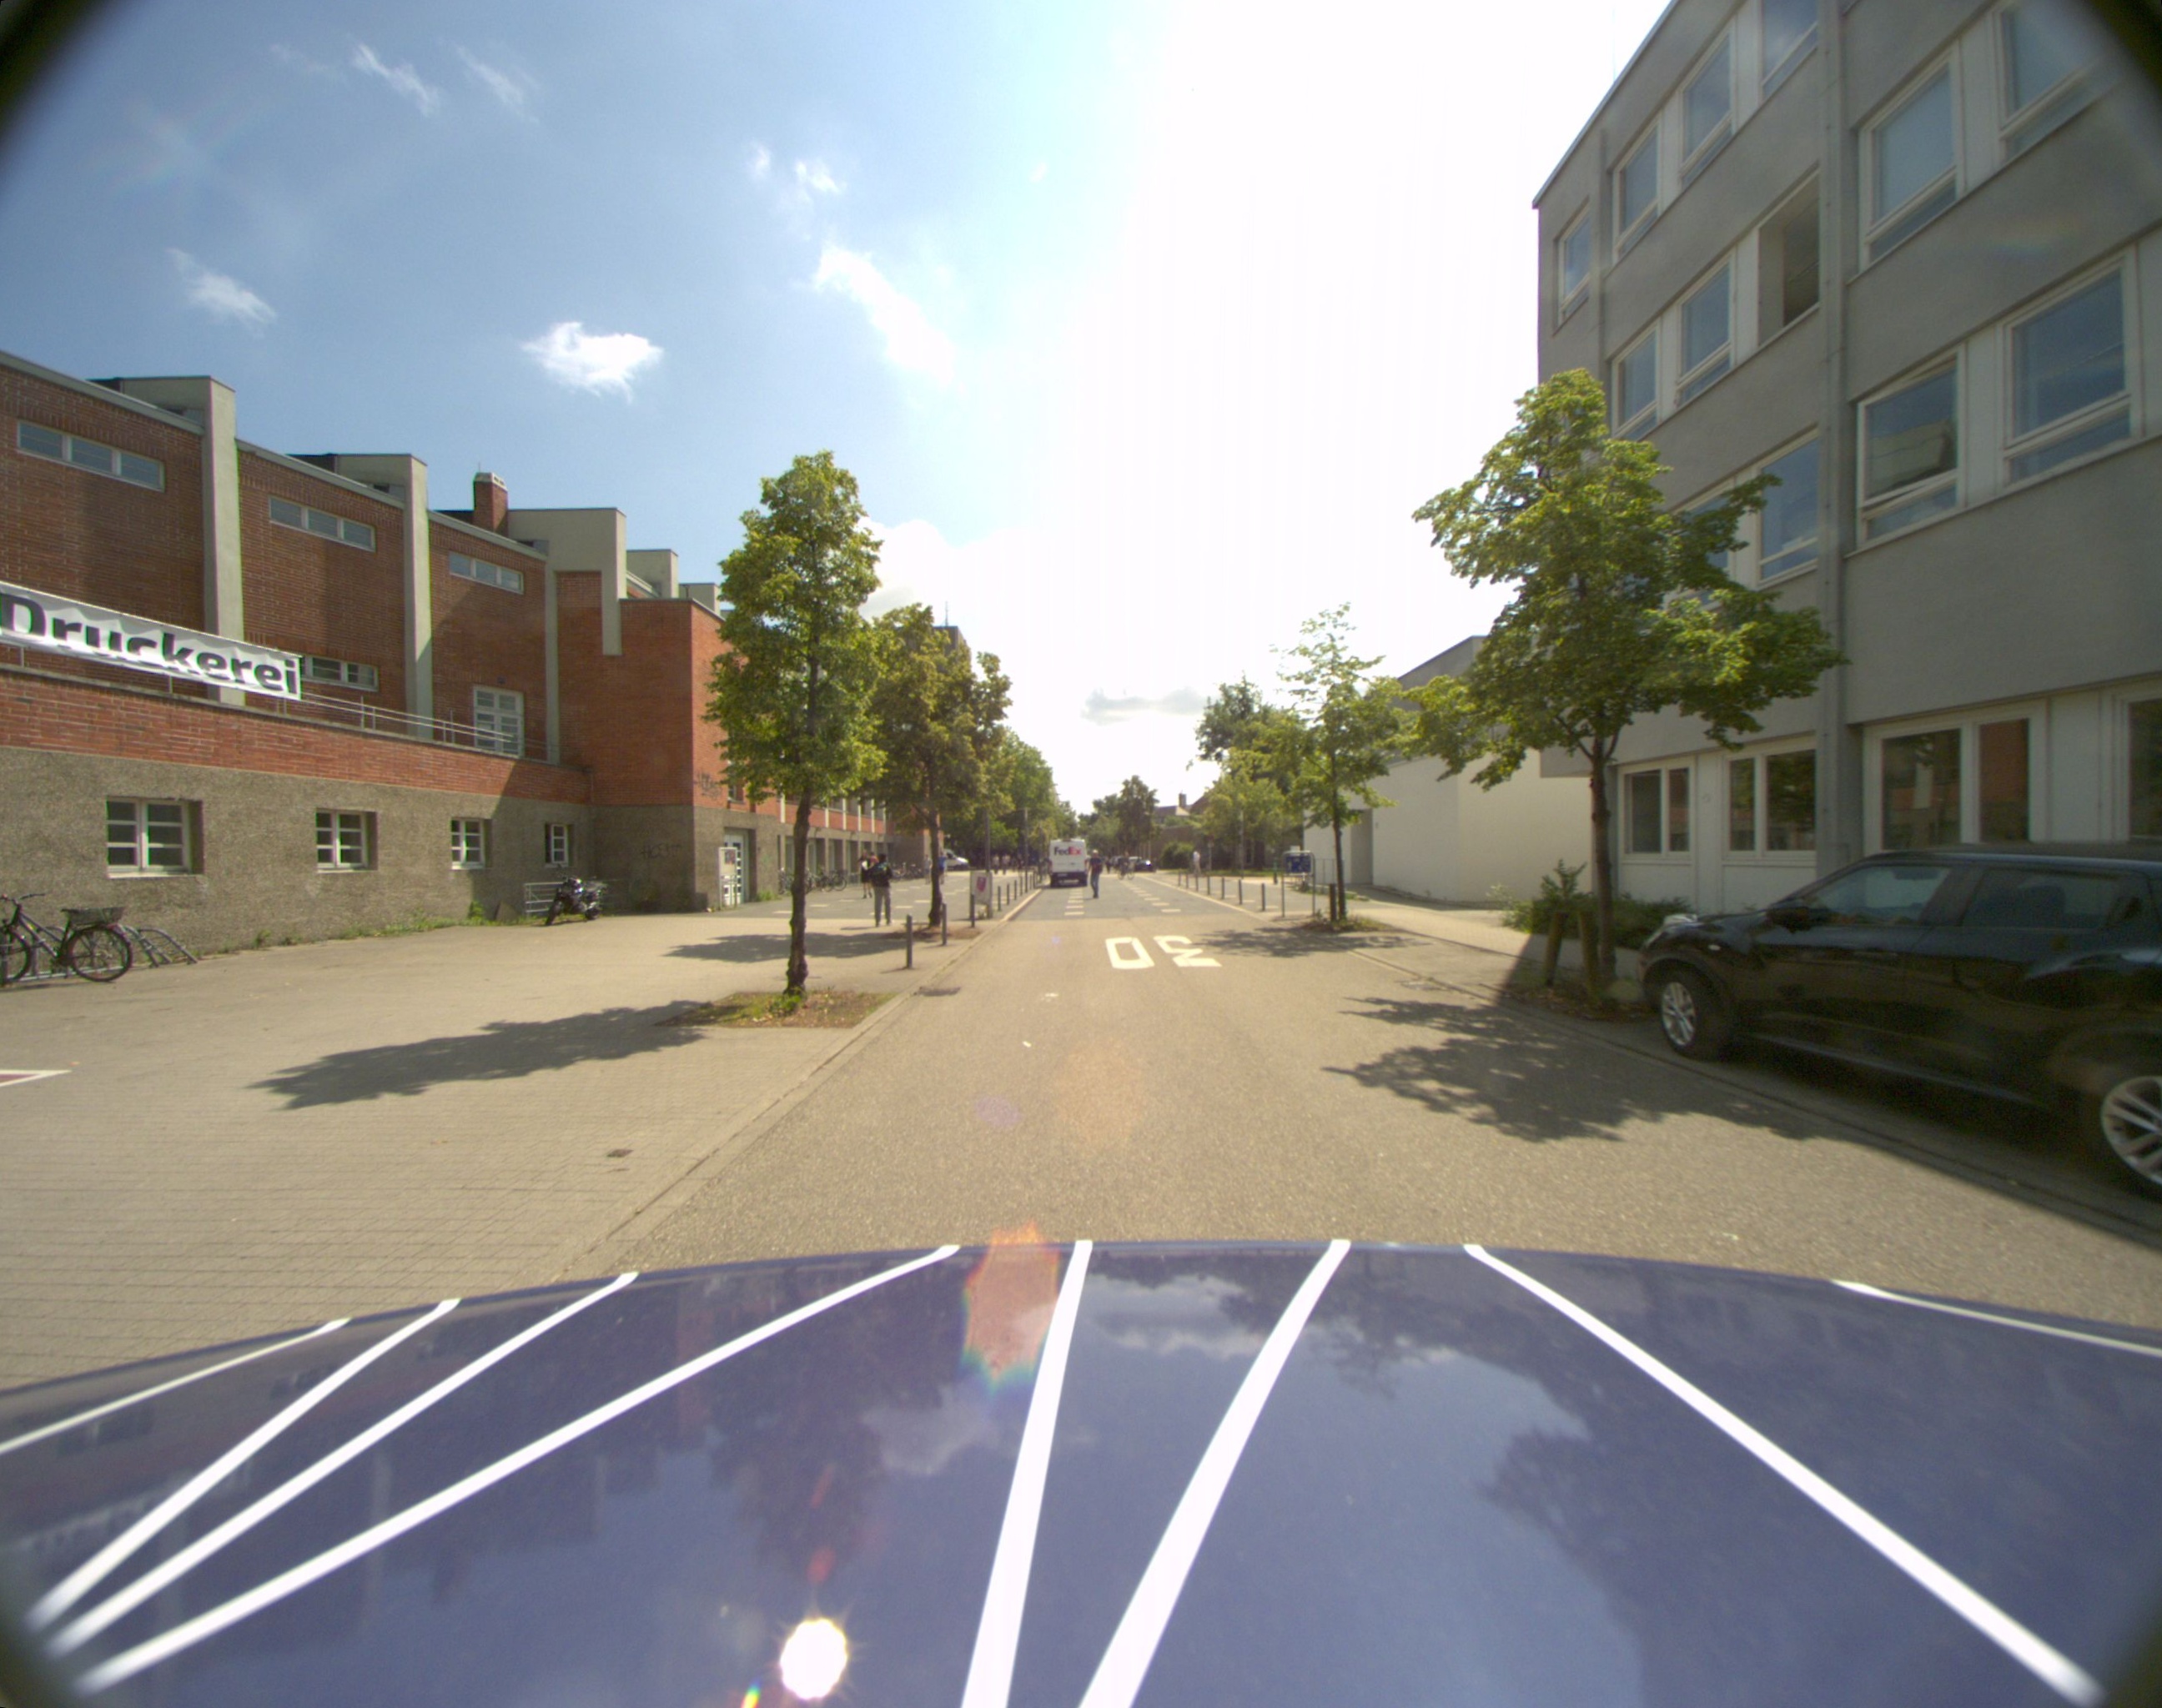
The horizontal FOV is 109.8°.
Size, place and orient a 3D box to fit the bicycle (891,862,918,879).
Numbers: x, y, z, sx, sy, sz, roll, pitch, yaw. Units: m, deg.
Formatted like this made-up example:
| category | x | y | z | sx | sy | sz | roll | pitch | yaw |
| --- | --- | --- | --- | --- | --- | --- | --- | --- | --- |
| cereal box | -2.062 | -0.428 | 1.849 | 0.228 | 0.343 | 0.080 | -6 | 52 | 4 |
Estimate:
| category | x | y | z | sx | sy | sz | roll | pitch | yaw |
| --- | --- | --- | --- | --- | --- | --- | --- | --- | --- |
| bicycle | -11.547 | 1.055 | 49.738 | 1.655 | 1.103 | 0.435 | 0 | 1 | -2 |

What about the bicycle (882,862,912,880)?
| category | x | y | z | sx | sy | sz | roll | pitch | yaw |
| --- | --- | --- | --- | --- | --- | --- | --- | --- | --- |
| bicycle | -11.642 | 1.054 | 48.110 | 1.801 | 1.103 | 0.435 | 0 | 1 | -2 |

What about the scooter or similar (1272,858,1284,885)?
| category | x | y | z | sx | sy | sz | roll | pitch | yaw |
| --- | --- | --- | --- | --- | --- | --- | --- | --- | --- |
| scooter or similar | 9.406 | 0.841 | 36.267 | 0.483 | 1.255 | 1.314 | -1 | 0 | 13 |

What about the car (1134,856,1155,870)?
| category | x | y | z | sx | sy | sz | roll | pitch | yaw |
| --- | --- | --- | --- | --- | --- | --- | --- | --- | --- |
| car | 5.969 | 0.862 | 71.659 | 1.701 | 1.287 | 3.762 | 0 | 0 | 1 |

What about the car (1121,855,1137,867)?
| category | x | y | z | sx | sy | sz | roll | pitch | yaw |
| --- | --- | --- | --- | --- | --- | --- | --- | --- | --- |
| car | 5.837 | 0.838 | 92.281 | 1.718 | 1.424 | 4.000 | -1 | 0 | 1 |

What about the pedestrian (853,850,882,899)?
| category | x | y | z | sx | sy | sz | roll | pitch | yaw |
| --- | --- | --- | --- | --- | --- | --- | --- | --- | --- |
| pedestrian | -8.189 | 0.763 | 29.154 | 0.846 | 1.823 | 1.197 | -1 | 1 | -5 |

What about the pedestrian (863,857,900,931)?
| category | x | y | z | sx | sy | sz | roll | pitch | yaw |
| --- | --- | --- | --- | --- | --- | --- | --- | --- | --- |
| pedestrian | -4.695 | 0.927 | 17.913 | 0.643 | 1.687 | 0.792 | -1 | 1 | -1 |

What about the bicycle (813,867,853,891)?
| category | x | y | z | sx | sy | sz | roll | pitch | yaw |
| --- | --- | --- | --- | --- | --- | --- | --- | --- | --- |
| bicycle | -11.531 | 1.148 | 35.347 | 1.687 | 1.103 | 0.435 | 0 | 1 | -2 |

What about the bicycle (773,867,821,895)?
| category | x | y | z | sx | sy | sz | roll | pitch | yaw |
| --- | --- | --- | --- | --- | --- | --- | --- | --- | --- |
| bicycle | -11.755 | 1.122 | 31.474 | 1.758 | 1.143 | 0.518 | 0 | 1 | -2 |

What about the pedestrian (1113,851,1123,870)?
| category | x | y | z | sx | sy | sz | roll | pitch | yaw |
| --- | --- | --- | --- | --- | --- | --- | --- | --- | --- |
| pedestrian | 3.438 | 0.616 | 71.166 | 0.727 | 1.776 | 0.899 | -1 | 1 | -14 |

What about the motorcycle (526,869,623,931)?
| category | x | y | z | sx | sy | sz | roll | pitch | yaw |
| --- | --- | --- | --- | --- | --- | --- | --- | --- | --- |
| motorcycle | -11.889 | 1.041 | 17.937 | 0.697 | 1.315 | 2.220 | -1 | 0 | 2 |

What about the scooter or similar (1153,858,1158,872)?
| category | x | y | z | sx | sy | sz | roll | pitch | yaw |
| --- | --- | --- | --- | --- | --- | --- | --- | --- | --- |
| scooter or similar | 6.681 | 0.981 | 67.933 | 0.470 | 1.209 | 1.205 | 0 | 0 | 5 |

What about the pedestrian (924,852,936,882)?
| category | x | y | z | sx | sy | sz | roll | pitch | yaw |
| --- | --- | --- | --- | --- | --- | --- | --- | --- | --- |
| pedestrian | -8.805 | 0.767 | 44.253 | 0.586 | 1.697 | 1.001 | 0 | 1 | -5 |

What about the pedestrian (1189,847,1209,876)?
| category | x | y | z | sx | sy | sz | roll | pitch | yaw |
| --- | --- | --- | --- | --- | --- | --- | --- | --- | --- |
| pedestrian | 7.825 | 0.497 | 50.265 | 1.022 | 1.837 | 0.918 | 1 | 1 | 31 |

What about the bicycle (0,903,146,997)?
| category | x | y | z | sx | sy | sz | roll | pitch | yaw |
| --- | --- | --- | --- | --- | --- | --- | --- | --- | --- |
| bicycle | -12.856 | 1.187 | 9.482 | 1.810 | 1.103 | 0.448 | -1 | 1 | 1 |

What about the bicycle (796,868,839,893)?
| category | x | y | z | sx | sy | sz | roll | pitch | yaw |
| --- | --- | --- | --- | --- | --- | --- | --- | --- | --- |
| bicycle | -11.745 | 1.172 | 33.916 | 1.752 | 1.103 | 0.435 | 0 | 1 | -2 |

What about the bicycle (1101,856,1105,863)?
| category | x | y | z | sx | sy | sz | roll | pitch | yaw |
| --- | --- | --- | --- | --- | --- | --- | --- | --- | --- |
| bicycle | 3.597 | 0.966 | 124.040 | 0.626 | 1.135 | 1.812 | 0 | 0 | -2 |

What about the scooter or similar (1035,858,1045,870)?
| category | x | y | z | sx | sy | sz | roll | pitch | yaw |
| --- | --- | --- | --- | --- | --- | --- | --- | --- | --- |
| scooter or similar | -3.944 | 0.948 | 72.620 | 0.575 | 1.173 | 1.479 | 0 | 0 | 13 |

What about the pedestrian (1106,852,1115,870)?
| category | x | y | z | sx | sy | sz | roll | pitch | yaw |
| --- | --- | --- | --- | --- | --- | --- | --- | --- | --- |
| pedestrian | 2.761 | 0.628 | 70.714 | 0.622 | 1.706 | 1.004 | 0 | 0 | -12 |

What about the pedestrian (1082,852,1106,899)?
| category | x | y | z | sx | sy | sz | roll | pitch | yaw |
| --- | --- | --- | --- | --- | --- | --- | --- | --- | --- |
| pedestrian | 0.502 | 0.824 | 29.556 | 0.825 | 1.807 | 1.144 | -1 | 1 | -5 |

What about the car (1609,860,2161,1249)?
| category | x | y | z | sx | sy | sz | roll | pitch | yaw |
| --- | --- | --- | --- | --- | --- | --- | --- | --- | --- |
| car | 5.281 | 0.842 | 4.286 | 1.701 | 1.555 | 4.067 | -1 | 0 | -2 |

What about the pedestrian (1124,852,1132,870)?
| category | x | y | z | sx | sy | sz | roll | pitch | yaw |
| --- | --- | --- | --- | --- | --- | --- | --- | --- | --- |
| pedestrian | 4.398 | 0.675 | 71.280 | 0.558 | 1.706 | 0.972 | -1 | 1 | -12 |

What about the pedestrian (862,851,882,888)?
| category | x | y | z | sx | sy | sz | roll | pitch | yaw |
| --- | --- | --- | --- | --- | --- | --- | --- | --- | --- |
| pedestrian | -10.393 | 0.764 | 37.739 | 0.664 | 1.823 | 0.906 | -1 | 1 | 3 |

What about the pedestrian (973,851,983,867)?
| category | x | y | z | sx | sy | sz | roll | pitch | yaw |
| --- | --- | --- | --- | --- | --- | --- | --- | --- | --- |
| pedestrian | -12.770 | 0.618 | 94.223 | 0.984 | 1.935 | 0.976 | -1 | 1 | -22 |

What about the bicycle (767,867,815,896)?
| category | x | y | z | sx | sy | sz | roll | pitch | yaw |
| --- | --- | --- | --- | --- | --- | --- | --- | --- | --- |
| bicycle | -11.654 | 1.109 | 30.548 | 1.758 | 1.143 | 0.435 | 0 | 1 | -2 |

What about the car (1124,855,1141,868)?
| category | x | y | z | sx | sy | sz | roll | pitch | yaw |
| --- | --- | --- | --- | --- | --- | --- | --- | --- | --- |
| car | 5.684 | 0.863 | 84.069 | 1.648 | 1.368 | 4.000 | -1 | 0 | 1 |

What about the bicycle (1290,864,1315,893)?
| category | x | y | z | sx | sy | sz | roll | pitch | yaw |
| --- | --- | --- | --- | --- | --- | --- | --- | --- | --- |
| bicycle | 8.496 | 0.909 | 29.173 | 0.544 | 1.055 | 1.900 | -1 | 0 | 5 |

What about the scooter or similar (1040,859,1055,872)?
| category | x | y | z | sx | sy | sz | roll | pitch | yaw |
| --- | --- | --- | --- | --- | --- | --- | --- | --- | --- |
| scooter or similar | -3.082 | 1.069 | 70.457 | 1.352 | 1.223 | 0.577 | 0 | 0 | 35 |

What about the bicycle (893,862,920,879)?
| category | x | y | z | sx | sy | sz | roll | pitch | yaw |
| --- | --- | --- | --- | --- | --- | --- | --- | --- | --- |
| bicycle | -11.558 | 1.068 | 50.434 | 1.699 | 1.103 | 0.435 | 0 | 1 | -2 |

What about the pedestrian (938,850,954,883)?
| category | x | y | z | sx | sy | sz | roll | pitch | yaw |
| --- | --- | --- | --- | --- | --- | --- | --- | --- | --- |
| pedestrian | -7.880 | 0.737 | 44.350 | 0.665 | 1.879 | 1.110 | 0 | 1 | 1 |

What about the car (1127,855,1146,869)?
| category | x | y | z | sx | sy | sz | roll | pitch | yaw |
| --- | --- | --- | --- | --- | --- | --- | --- | --- | --- |
| car | 5.723 | 0.819 | 78.270 | 1.635 | 1.422 | 3.632 | -1 | 0 | 0 |

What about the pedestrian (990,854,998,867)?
| category | x | y | z | sx | sy | sz | roll | pitch | yaw |
| --- | --- | --- | --- | --- | --- | --- | --- | --- | --- |
| pedestrian | -10.858 | 0.778 | 94.994 | 0.752 | 1.663 | 0.844 | 0 | 0 | -22 |

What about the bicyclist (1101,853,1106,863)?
| category | x | y | z | sx | sy | sz | roll | pitch | yaw |
| --- | --- | --- | --- | --- | --- | --- | --- | --- | --- |
| bicyclist | 3.644 | 0.597 | 124.049 | 0.630 | 1.597 | 1.329 | 0 | 0 | -2 |

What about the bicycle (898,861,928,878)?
| category | x | y | z | sx | sy | sz | roll | pitch | yaw |
| --- | --- | --- | --- | --- | --- | --- | --- | --- | --- |
| bicycle | -11.561 | 1.052 | 52.241 | 1.935 | 1.103 | 0.456 | 0 | 1 | -2 |

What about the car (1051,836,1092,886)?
| category | x | y | z | sx | sy | sz | roll | pitch | yaw |
| --- | --- | --- | --- | --- | --- | --- | --- | --- | --- |
| car | -0.584 | 0.366 | 41.618 | 2.064 | 2.528 | 5.848 | 0 | 0 | -2 |

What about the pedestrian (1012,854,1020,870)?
| category | x | y | z | sx | sy | sz | roll | pitch | yaw |
| --- | --- | --- | --- | --- | --- | --- | --- | --- | --- |
| pedestrian | -6.960 | 0.833 | 81.409 | 0.785 | 1.666 | 1.078 | 0 | 1 | -13 |

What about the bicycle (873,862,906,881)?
| category | x | y | z | sx | sy | sz | roll | pitch | yaw |
| --- | --- | --- | --- | --- | --- | --- | --- | --- | --- |
| bicycle | -11.671 | 1.071 | 46.298 | 1.916 | 1.103 | 0.435 | 0 | 1 | -2 |

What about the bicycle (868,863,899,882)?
| category | x | y | z | sx | sy | sz | roll | pitch | yaw |
| --- | --- | --- | --- | --- | --- | --- | --- | --- | --- |
| bicycle | -11.619 | 1.083 | 44.623 | 1.687 | 1.103 | 0.435 | 0 | 1 | -2 |
